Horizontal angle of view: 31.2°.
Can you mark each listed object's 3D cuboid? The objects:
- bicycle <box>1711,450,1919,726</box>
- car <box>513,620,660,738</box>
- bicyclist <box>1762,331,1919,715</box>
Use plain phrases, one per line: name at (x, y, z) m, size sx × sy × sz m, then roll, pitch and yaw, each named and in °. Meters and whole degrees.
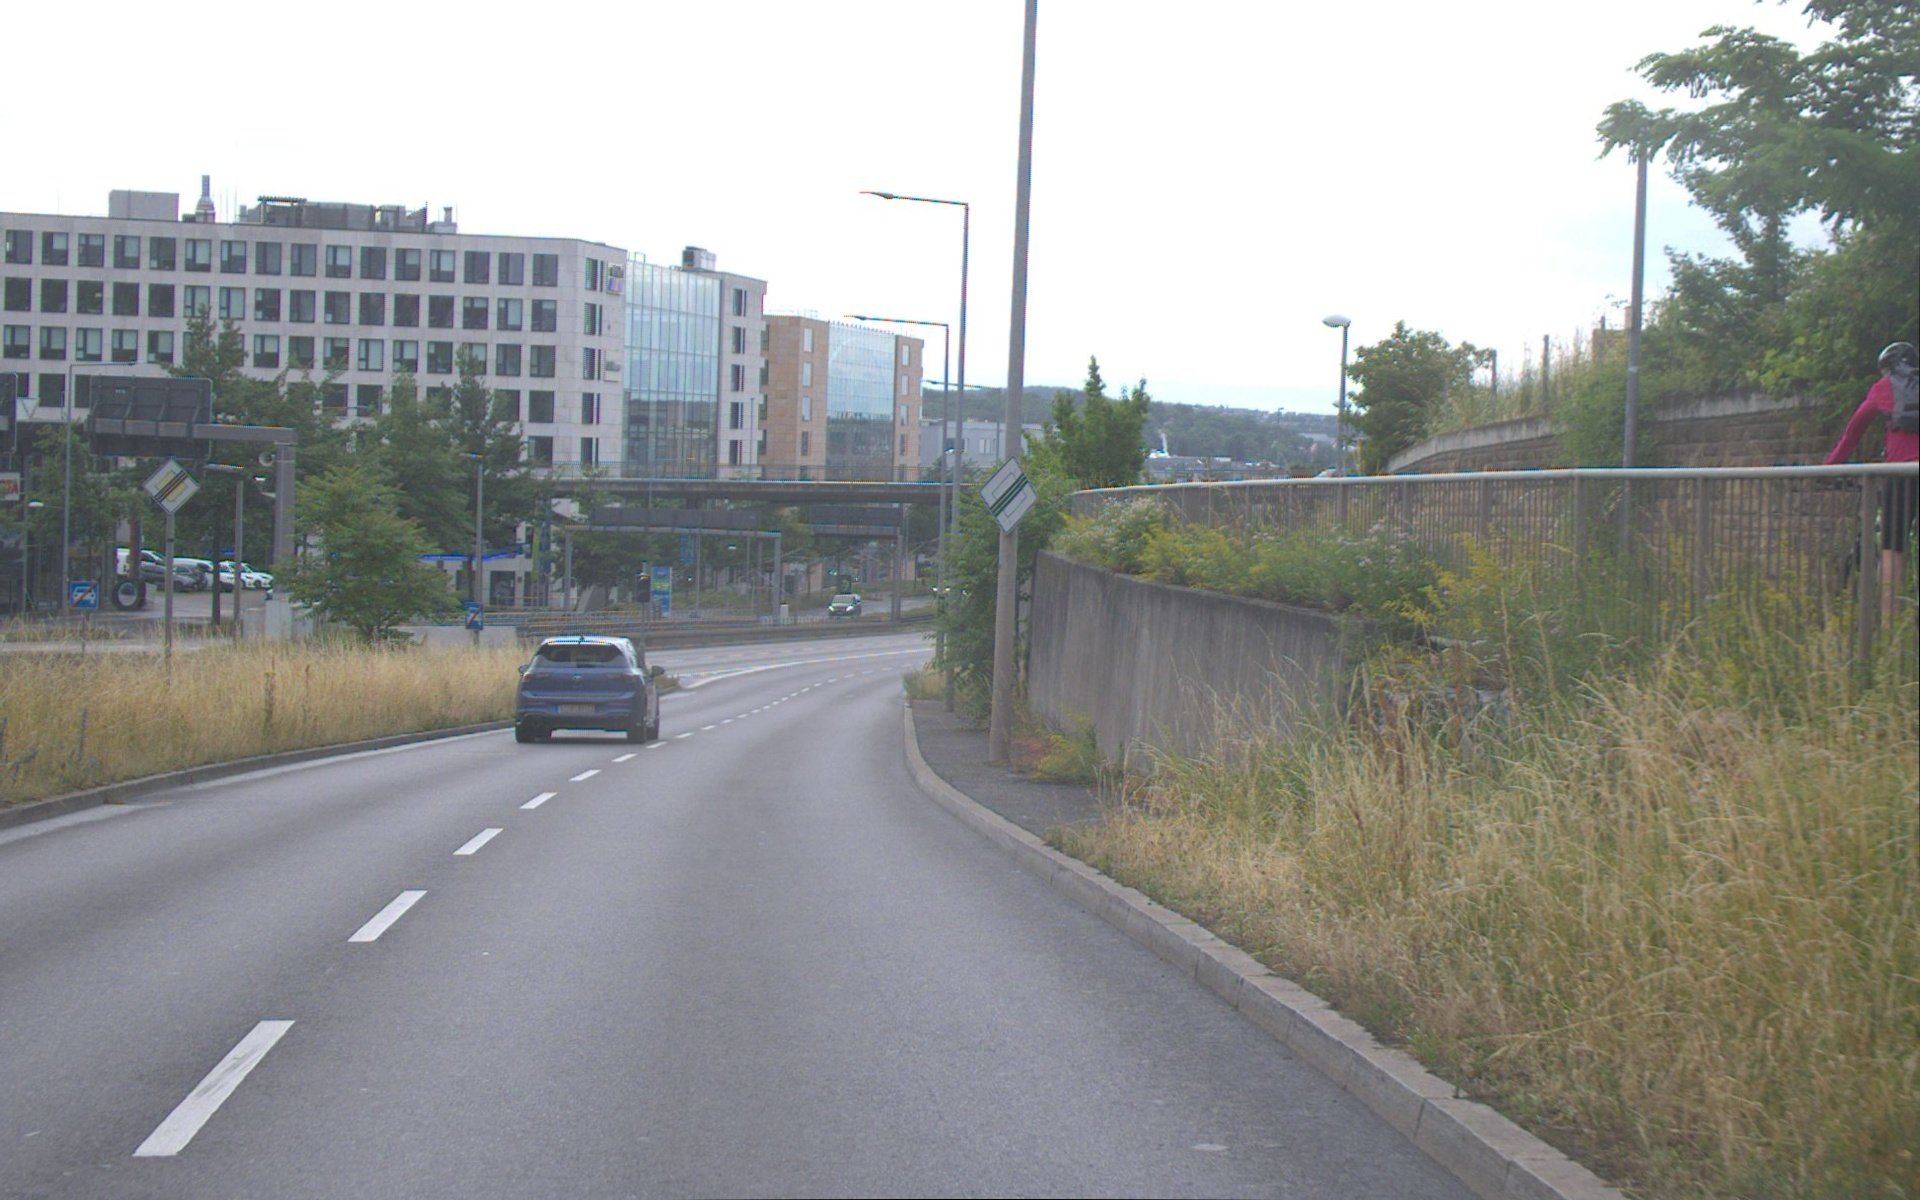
bicycle at (4.867, -0.097, 17.805) m, size 0.869 × 1.283 × 3.488 m, roll 4°, pitch 2°, yaw -4°
car at (-5.121, 1.066, 47.489) m, size 1.748 × 1.415 × 3.479 m, roll 1°, pitch 2°, yaw -2°
bicyclist at (4.873, -0.391, 17.902) m, size 0.869 × 1.902 × 1.294 m, roll 4°, pitch 2°, yaw -4°
